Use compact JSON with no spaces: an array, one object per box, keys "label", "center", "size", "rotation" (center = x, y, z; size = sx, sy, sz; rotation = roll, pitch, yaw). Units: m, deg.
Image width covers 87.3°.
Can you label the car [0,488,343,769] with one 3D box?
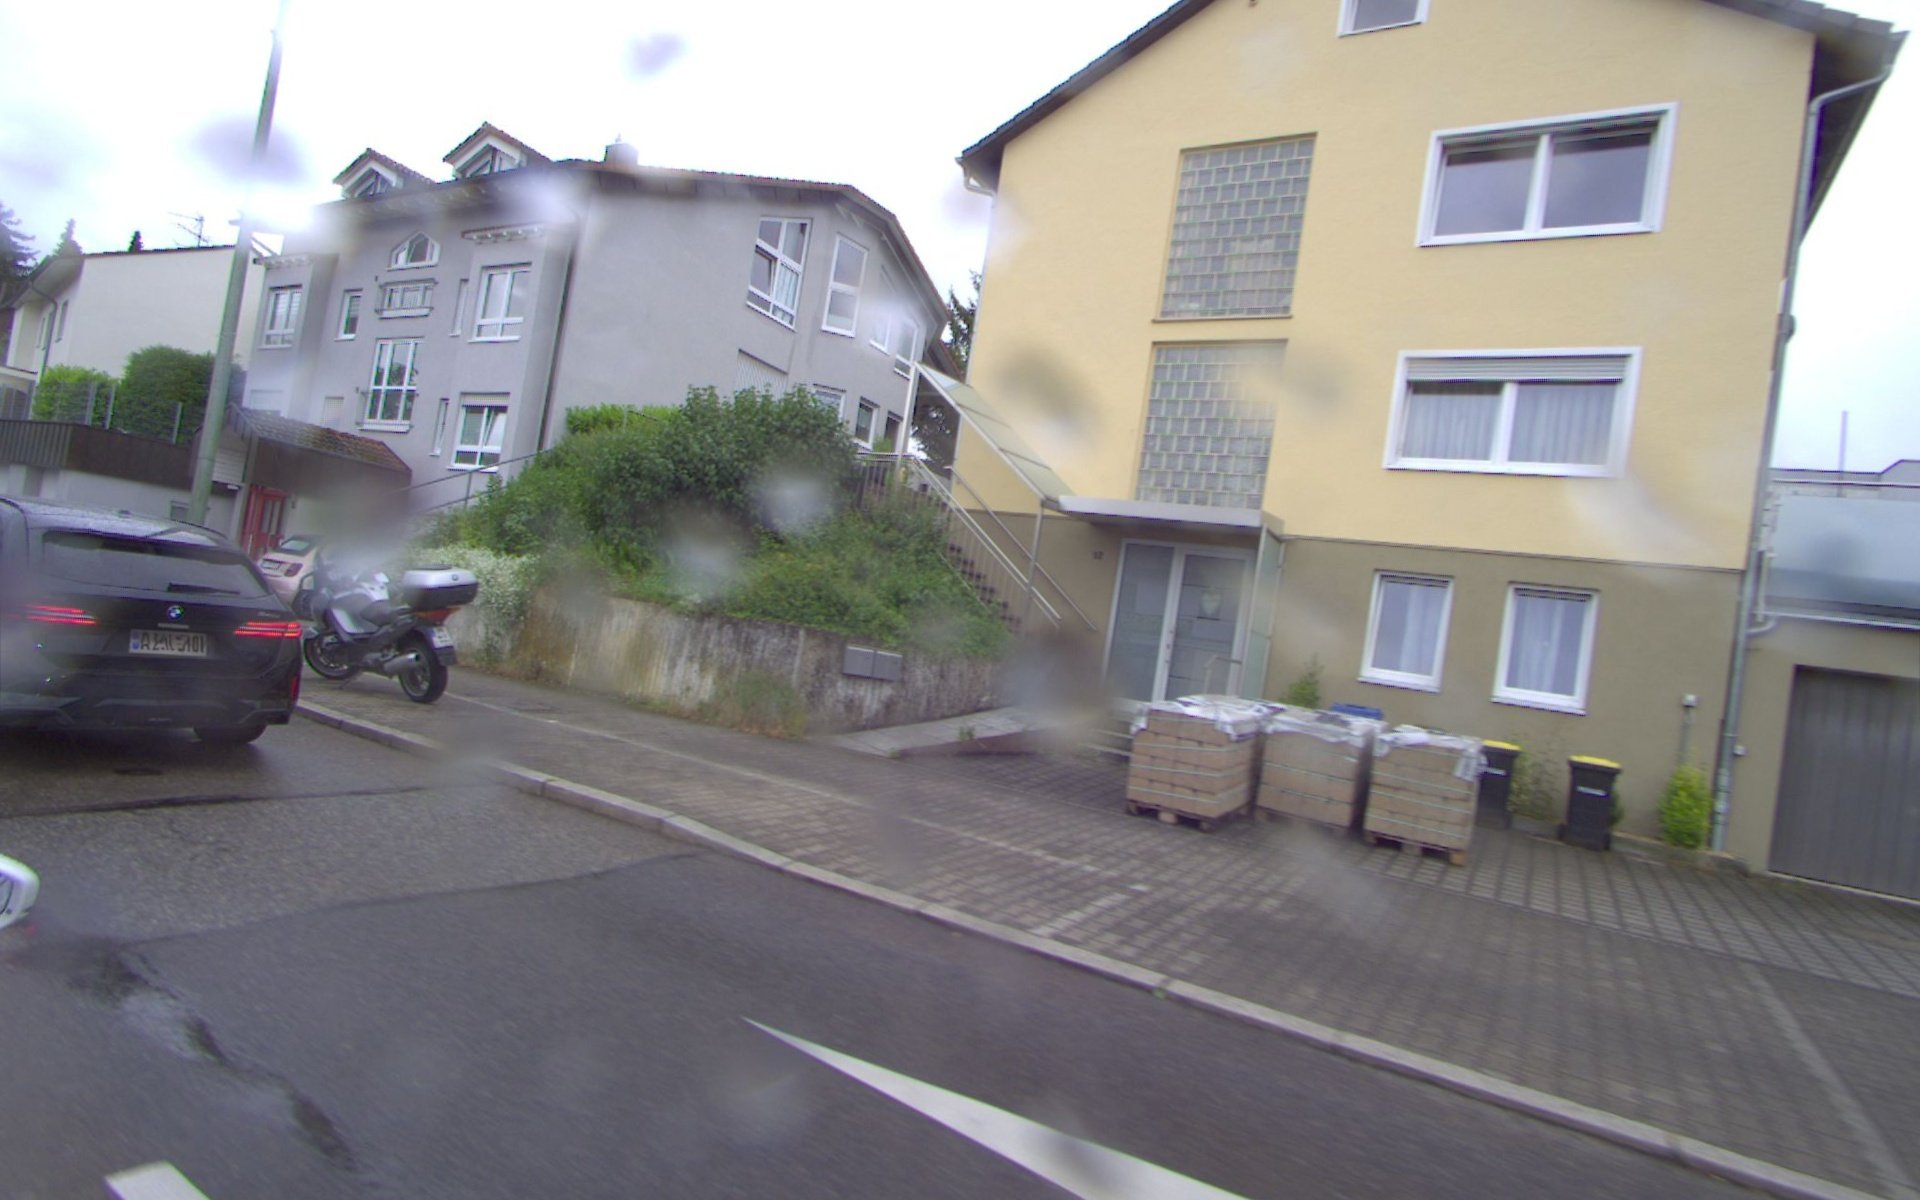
[{"label":"car","center":[-6.412,0.053,7.028],"size":[3.936,1.500,1.997],"rotation":[7,-3,34]}]

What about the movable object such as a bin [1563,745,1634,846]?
[{"label":"movable object such as a bin","center":[6.877,2.089,10.852],"size":[0.533,0.958,0.491],"rotation":[7,-2,30]}]

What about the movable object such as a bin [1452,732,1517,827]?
[{"label":"movable object such as a bin","center":[5.930,2.012,11.372],"size":[0.533,0.958,0.491],"rotation":[7,-2,30]}]

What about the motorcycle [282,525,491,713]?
[{"label":"motorcycle","center":[-5.545,0.152,9.681],"size":[2.115,1.528,0.704],"rotation":[7,1,32]}]
